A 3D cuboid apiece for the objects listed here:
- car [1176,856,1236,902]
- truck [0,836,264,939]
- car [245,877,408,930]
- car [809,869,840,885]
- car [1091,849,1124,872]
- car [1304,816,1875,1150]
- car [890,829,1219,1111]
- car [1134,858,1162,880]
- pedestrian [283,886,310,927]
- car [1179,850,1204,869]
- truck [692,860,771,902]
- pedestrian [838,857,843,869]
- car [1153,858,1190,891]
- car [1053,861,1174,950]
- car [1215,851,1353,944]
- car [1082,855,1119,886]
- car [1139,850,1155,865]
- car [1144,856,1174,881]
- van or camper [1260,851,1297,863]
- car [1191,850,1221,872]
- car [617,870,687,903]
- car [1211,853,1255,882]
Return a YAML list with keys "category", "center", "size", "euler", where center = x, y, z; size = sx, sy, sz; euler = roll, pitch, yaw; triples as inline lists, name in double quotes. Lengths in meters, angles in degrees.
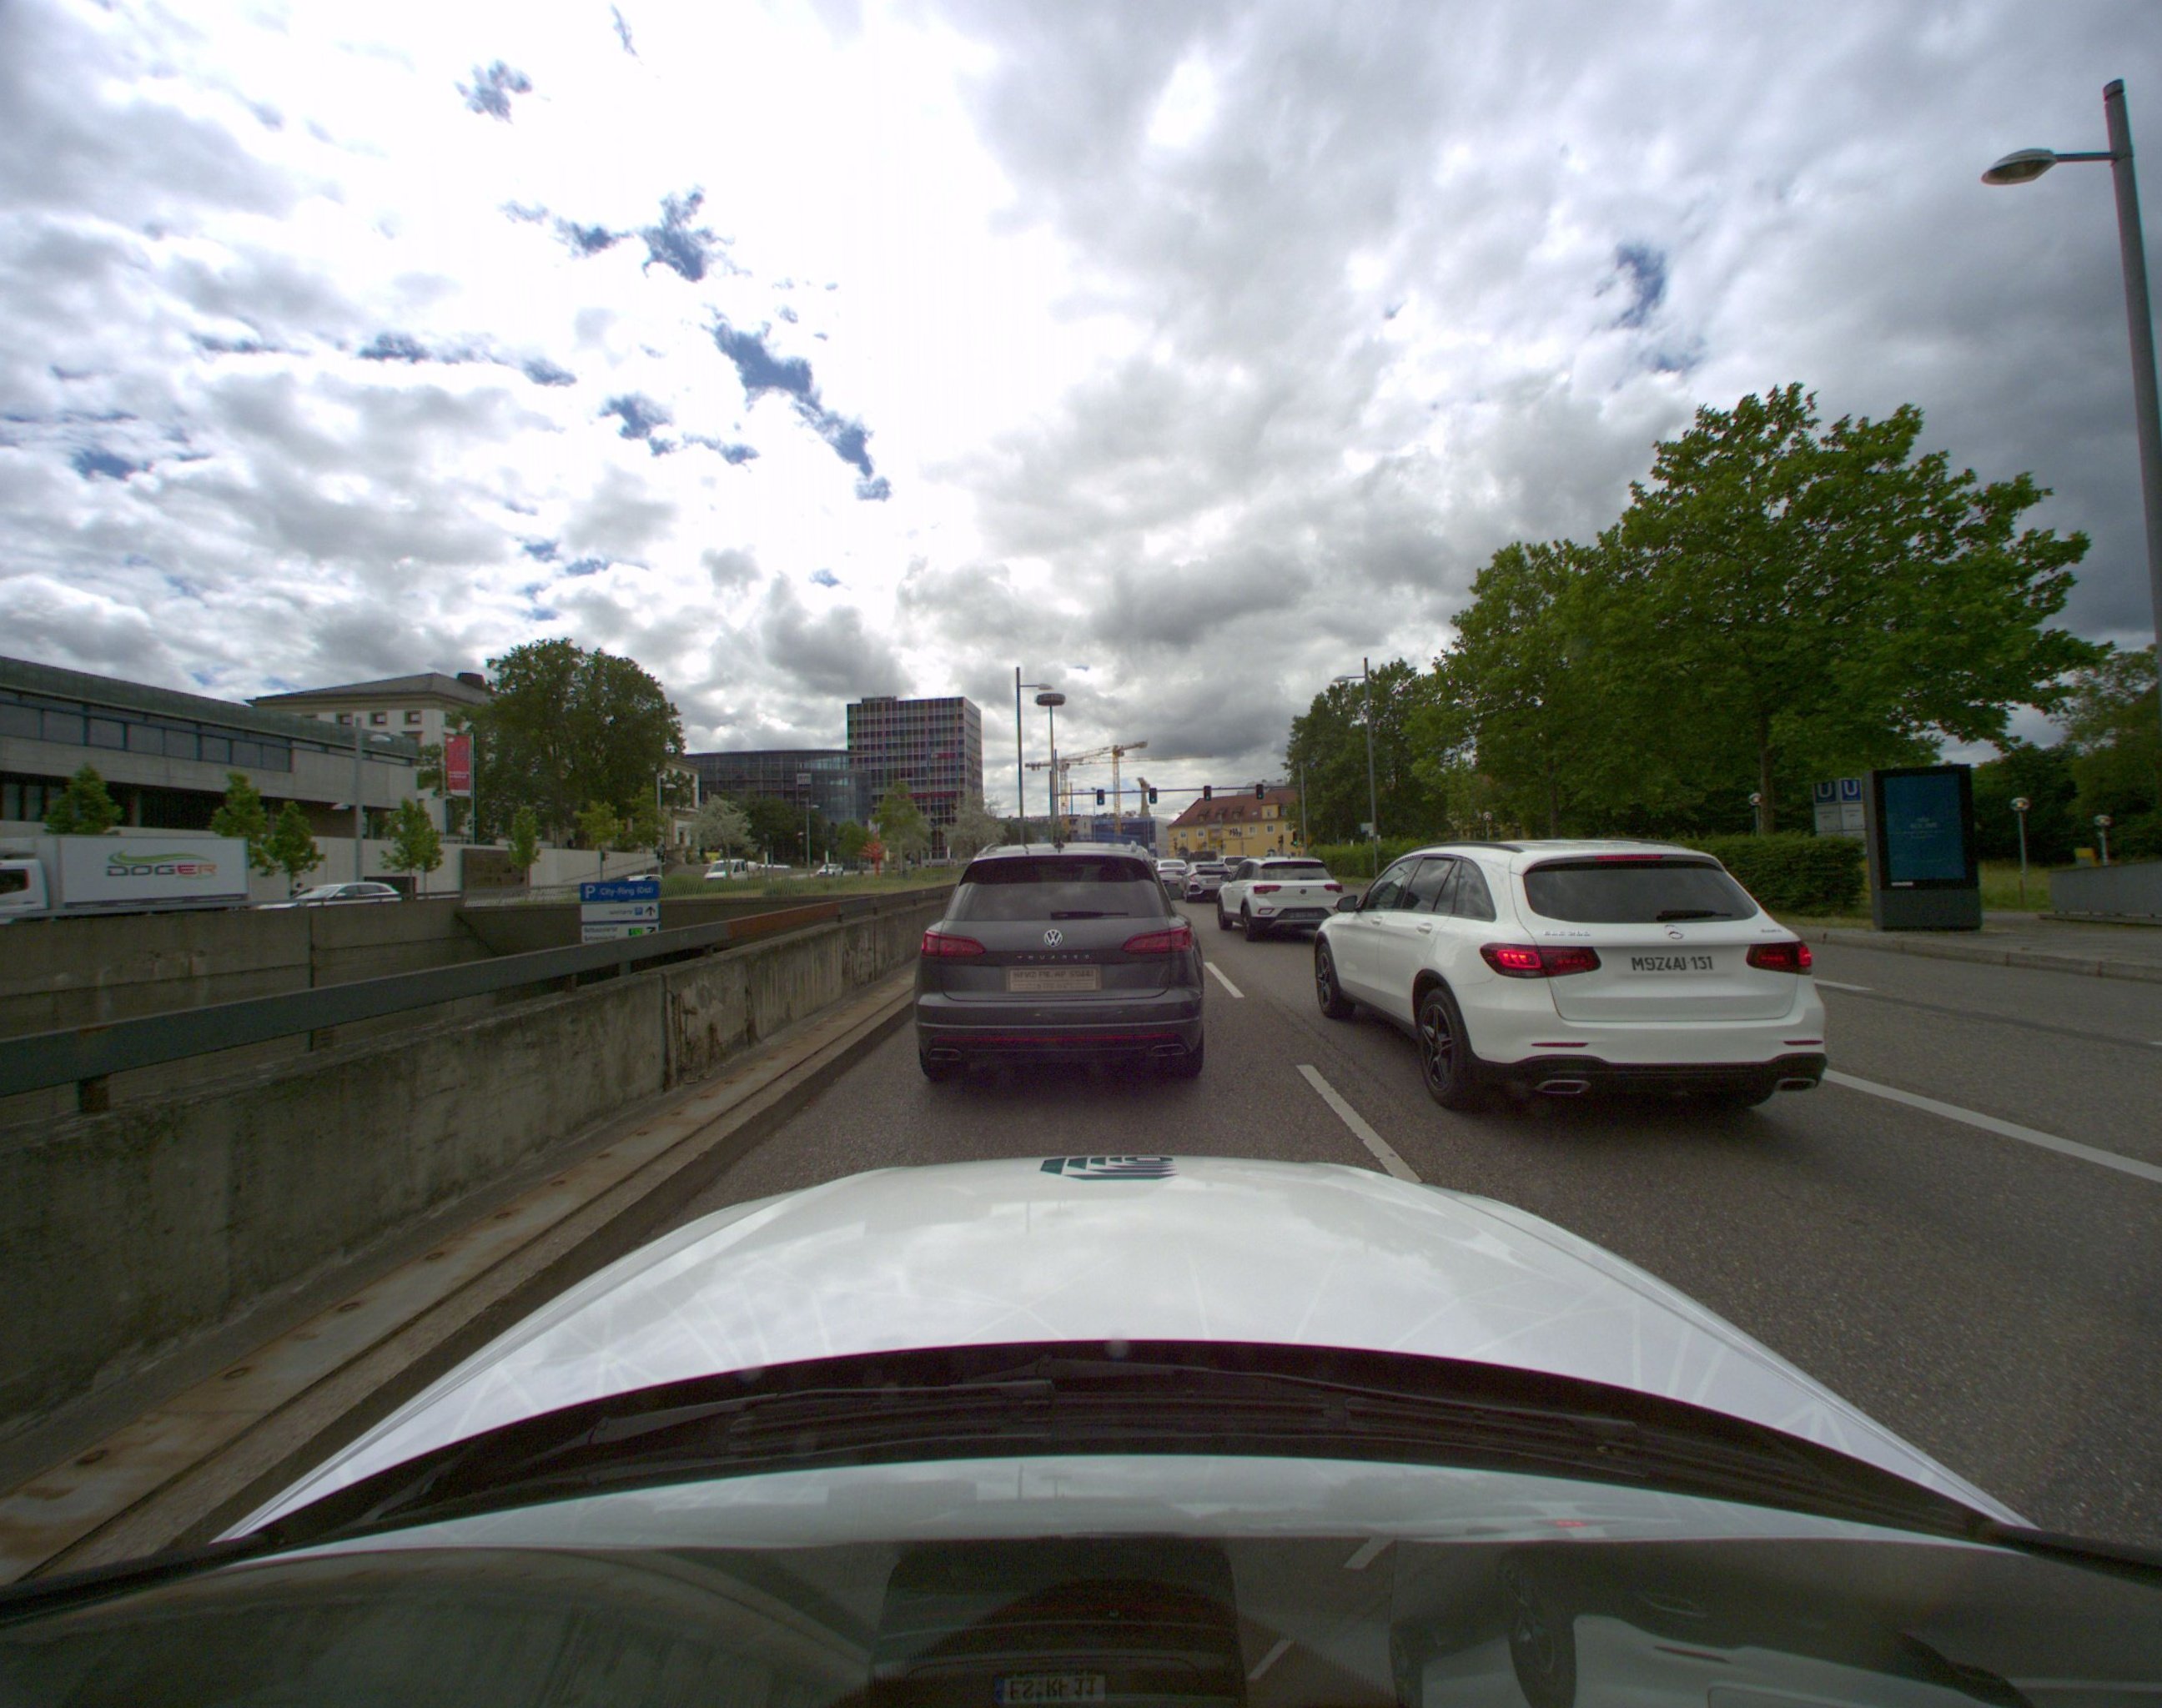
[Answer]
- category: "car"
  center: [4.452, 0.859, 29.441]
  size: [1.712, 1.502, 4.147]
  euler: [-1, 0, 3]
- category: "truck"
  center: [-30.681, 0.907, 25.242]
  size: [3.219, 2.787, 7.255]
  euler: [-1, 0, 1]
- category: "car"
  center: [-26.811, 1.693, 29.167]
  size: [1.712, 1.574, 4.274]
  euler: [-1, 0, 3]
- category: "car"
  center: [-28.287, 2.519, 90.005]
  size: [1.712, 1.574, 4.616]
  euler: [-1, 0, 3]
- category: "car"
  center: [1.926, 0.449, 57.378]
  size: [2.235, 1.502, 4.615]
  euler: [-1, 0, 3]
- category: "car"
  center: [3.126, 0.646, 6.252]
  size: [1.811, 1.647, 4.382]
  euler: [-1, 0, 3]
- category: "car"
  center: [-0.094, 0.686, 6.831]
  size: [1.925, 1.647, 4.002]
  euler: [-1, 0, 2]
- category: "car"
  center: [5.413, 1.184, 65.799]
  size: [2.129, 1.728, 4.075]
  euler: [-1, -1, 4]
- category: "pedestrian"
  center: [-34.747, 2.322, 36.073]
  size: [0.538, 1.733, 0.664]
  euler: [-1, 0, 1]
- category: "car"
  center: [9.276, 0.431, 68.696]
  size: [1.712, 1.502, 3.984]
  euler: [-1, 0, 3]
- category: "truck"
  center: [-25.918, 1.930, 60.763]
  size: [2.453, 2.816, 7.084]
  euler: [-1, 0, 3]
- category: "pedestrian"
  center: [-34.737, 1.283, 117.765]
  size: [0.522, 1.649, 0.650]
  euler: [0, -1, 0]
- category: "car"
  center: [4.403, 0.960, 39.948]
  size: [1.711, 1.502, 3.987]
  euler: [-1, 0, 5]
- category: "car"
  center: [0.611, 0.876, 15.614]
  size: [1.986, 1.387, 4.002]
  euler: [-1, 0, 2]
- category: "car"
  center: [3.838, 0.753, 16.080]
  size: [1.886, 1.585, 3.802]
  euler: [-1, 0, 2]
- category: "car"
  center: [1.018, 0.819, 42.025]
  size: [1.807, 1.496, 3.908]
  euler: [-1, 0, 2]
- category: "car"
  center: [9.328, 0.469, 115.283]
  size: [1.986, 2.013, 4.002]
  euler: [-1, 0, 2]
- category: "car"
  center: [5.080, 0.908, 53.424]
  size: [1.712, 1.502, 3.984]
  euler: [-1, 0, 3]
- category: "van or camper"
  center: [34.282, 0.480, 141.675]
  size: [5.947, 2.014, 2.032]
  euler: [-2, -1, 37]
- category: "car"
  center: [8.843, 0.464, 57.998]
  size: [1.712, 1.502, 3.984]
  euler: [-1, 0, 3]
- category: "car"
  center: [-26.691, 1.988, 50.877]
  size: [1.986, 1.816, 4.260]
  euler: [-1, 0, 2]
- category: "car"
  center: [8.181, 0.699, 44.056]
  size: [1.795, 1.502, 3.984]
  euler: [-1, 0, 3]
